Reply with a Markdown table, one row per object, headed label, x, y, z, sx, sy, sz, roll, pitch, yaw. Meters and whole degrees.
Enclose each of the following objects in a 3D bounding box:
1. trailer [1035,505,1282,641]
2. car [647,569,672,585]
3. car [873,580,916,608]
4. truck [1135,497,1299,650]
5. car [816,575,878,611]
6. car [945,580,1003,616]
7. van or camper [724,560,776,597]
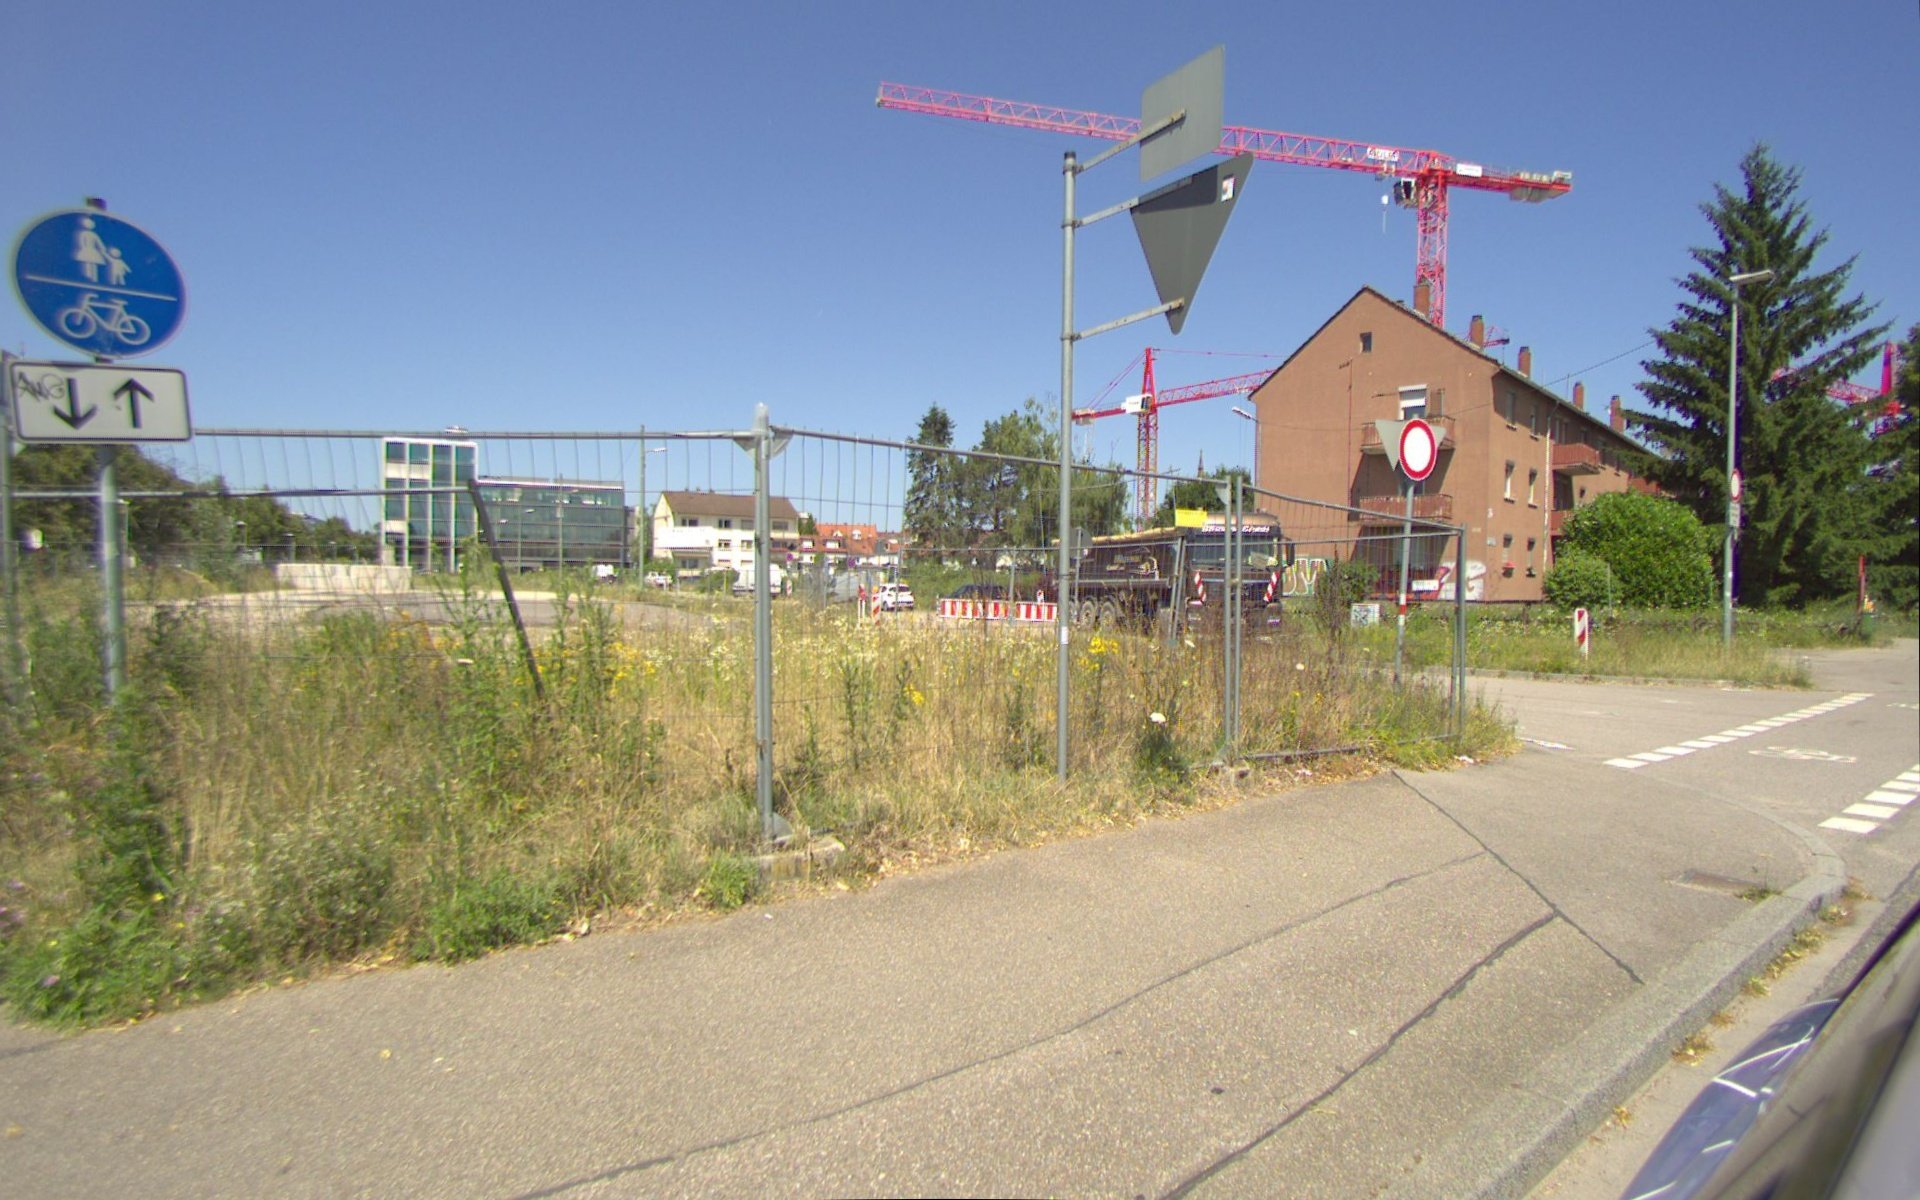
| label | x | y | z | sx | sy | sz | roll | pitch | yaw |
| --- | --- | --- | --- | --- | --- | --- | --- | --- | --- |
| trailer | 5.712 | -0.797 | 31.375 | 3.098 | 3.577 | 9.012 | 1 | 1 | -21 |
| car | -31.125 | -2.362 | 104.719 | 1.647 | 1.606 | 3.626 | -1 | 1 | -30 |
| car | -3.665 | -0.352 | 56.146 | 1.390 | 1.423 | 2.795 | -2 | 2 | -27 |
| truck | 6.519 | -0.674 | 26.451 | 3.106 | 3.577 | 4.962 | 1 | 1 | 2 |
| car | -6.841 | -0.470 | 60.848 | 1.751 | 2.039 | 4.684 | 0 | 1 | -34 |
| car | 0.637 | -0.105 | 48.011 | 1.342 | 1.633 | 3.424 | 0 | 1 | -27 |
| van or camper | -16.050 | -1.650 | 76.884 | 1.891 | 2.634 | 7.012 | 1 | 1 | -29 |
